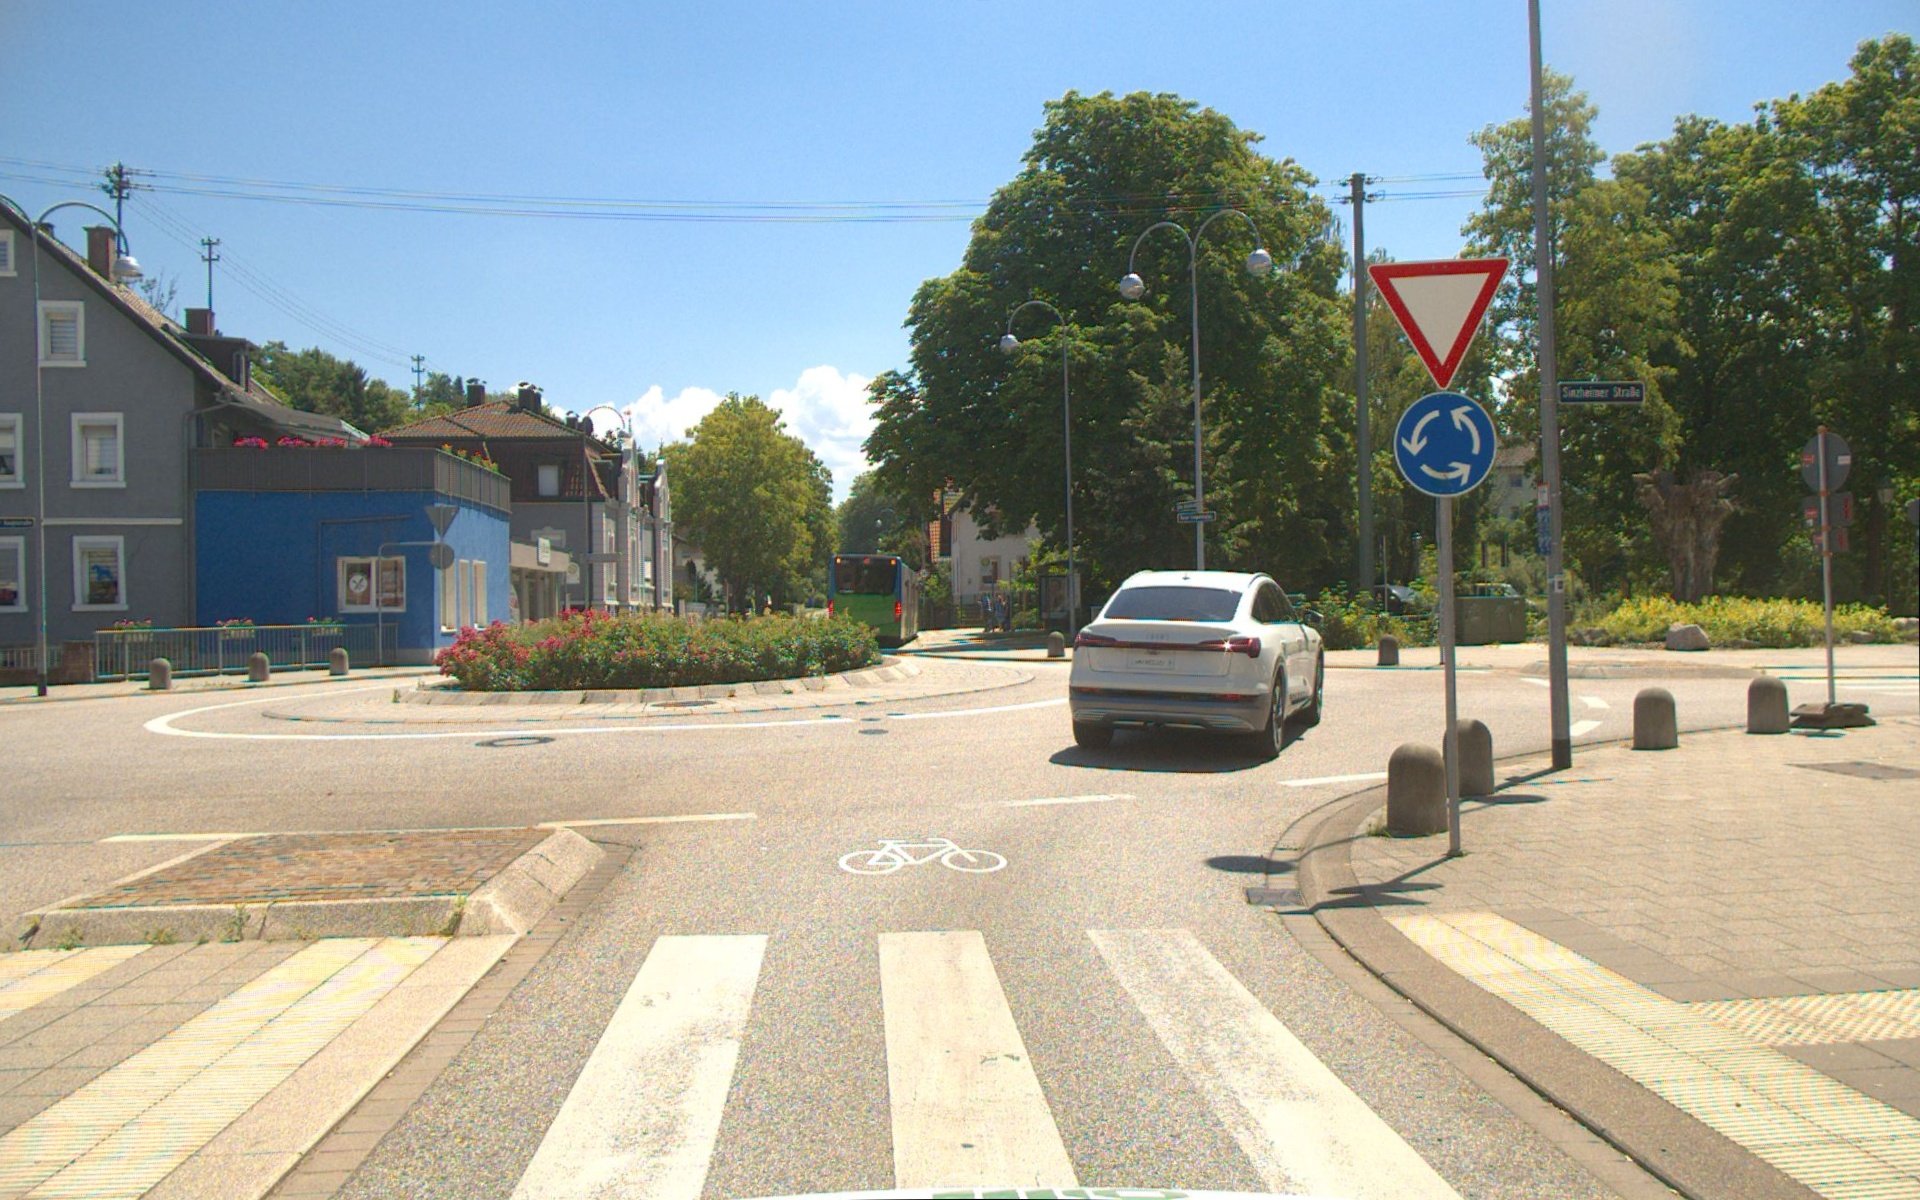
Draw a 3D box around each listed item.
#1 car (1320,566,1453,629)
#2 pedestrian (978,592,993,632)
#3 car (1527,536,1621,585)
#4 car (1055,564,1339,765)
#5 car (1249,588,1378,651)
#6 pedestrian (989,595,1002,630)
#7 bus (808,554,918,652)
[{"bbox_3d":[14.501,-0.086,56.298,1.984,2.049,3.937,-1,0,-43],"label":"car"},{"bbox_3d":[1.085,0.518,70.708,0.493,1.679,0.578,-1,0,-8],"label":"pedestrian"},{"bbox_3d":[28.048,-1.790,75.558,3.906,2.049,1.999,-2,0,23],"label":"car"},{"bbox_3d":[2.500,0.511,16.399,1.859,1.691,4.410,1,1,21],"label":"car"},{"bbox_3d":[9.623,0.510,45.101,3.000,1.580,1.627,-2,0,-17],"label":"car"},{"bbox_3d":[1.560,0.545,72.324,0.479,1.548,0.541,-1,0,-8],"label":"pedestrian"},{"bbox_3d":[-3.457,0.177,64.329,3.631,3.227,18.063,1,-1,-1],"label":"bus"}]
